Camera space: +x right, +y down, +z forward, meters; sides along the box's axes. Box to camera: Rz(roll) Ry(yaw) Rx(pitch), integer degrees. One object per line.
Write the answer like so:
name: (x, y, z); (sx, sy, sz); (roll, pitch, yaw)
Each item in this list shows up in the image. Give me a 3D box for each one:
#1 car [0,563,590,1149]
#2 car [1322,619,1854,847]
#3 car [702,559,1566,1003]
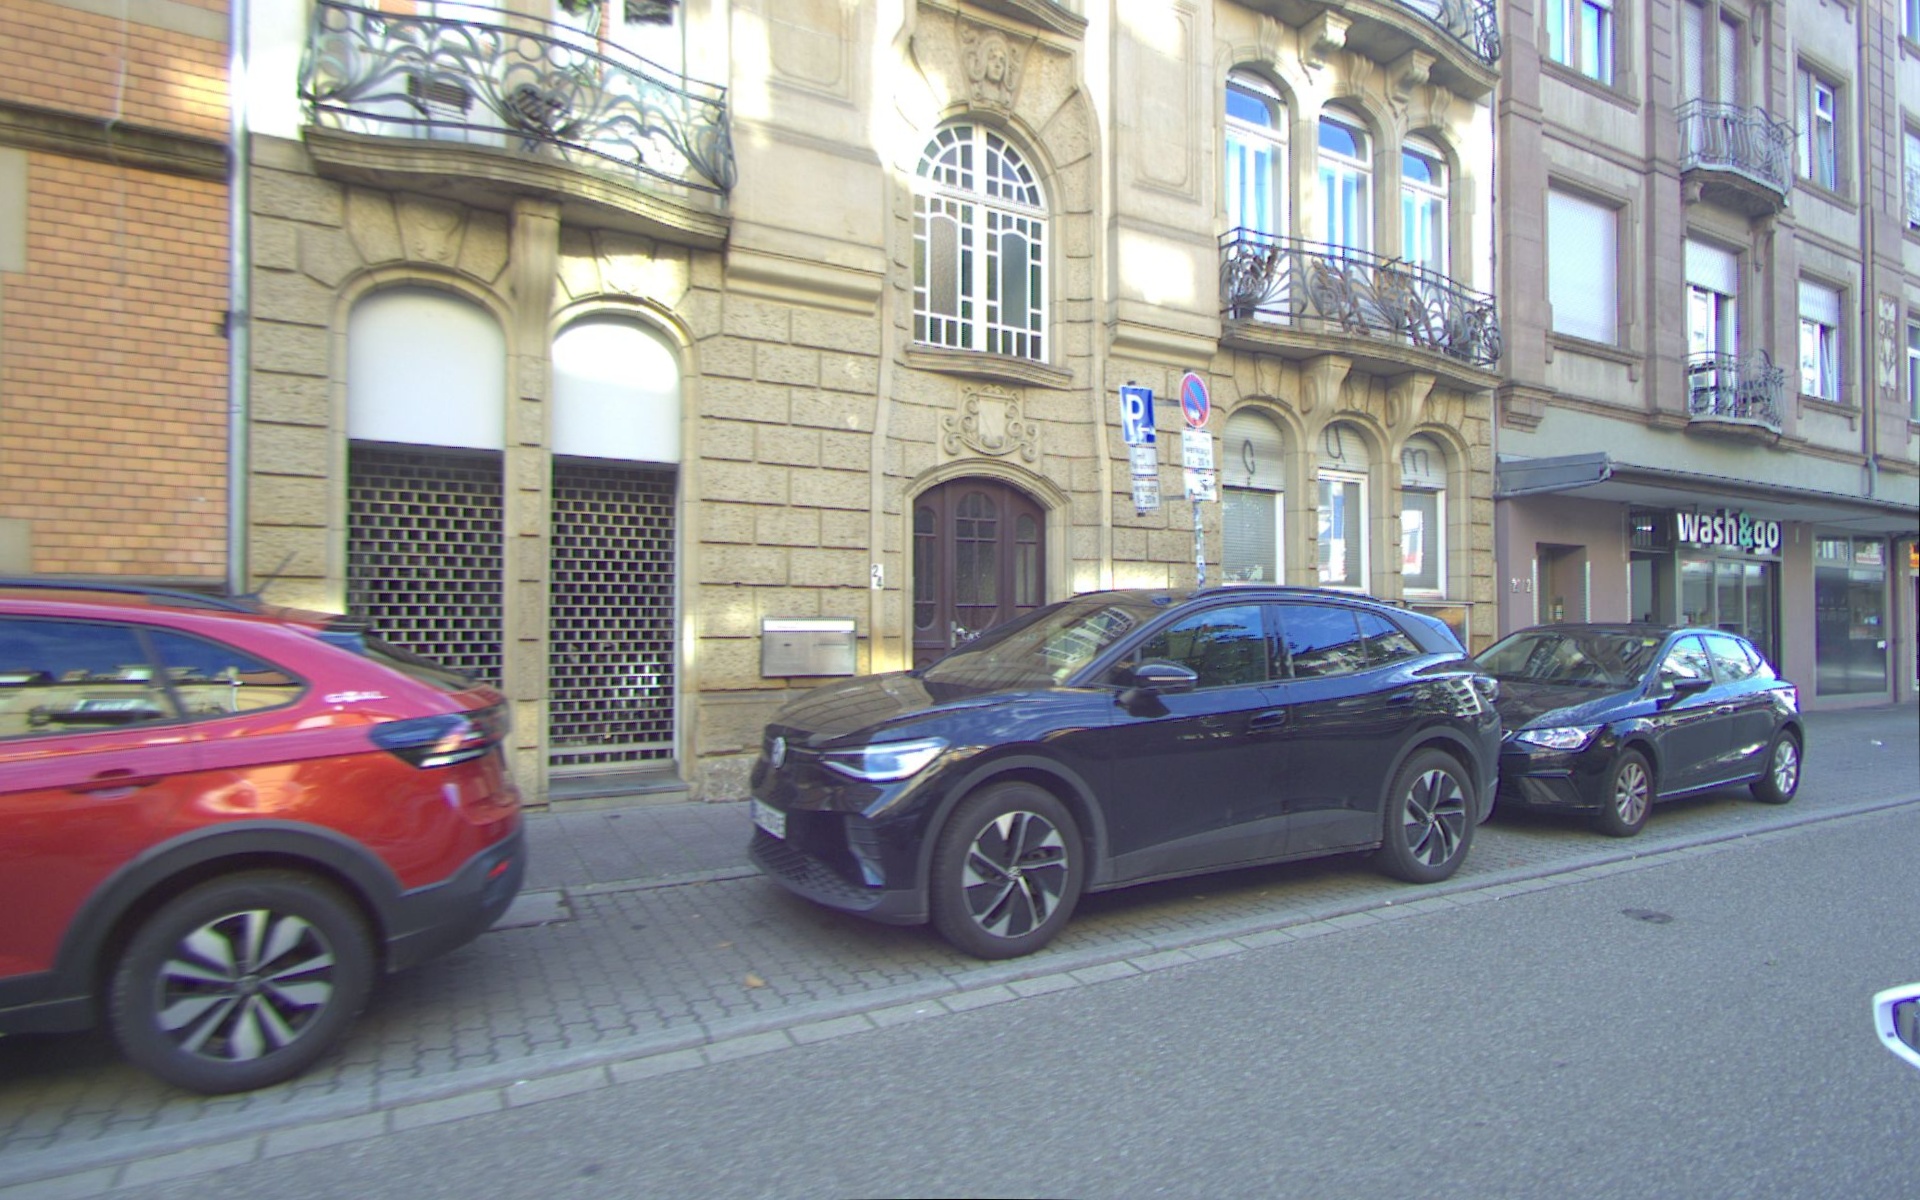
car: (-3.652, 0.696, 3.219); (4.374, 1.565, 1.985); (1, -2, -30)
car: (5.227, 0.897, 8.284); (4.194, 1.439, 1.985); (1, -2, -30)
car: (1.150, 0.746, 5.698); (4.788, 1.650, 1.783); (1, -2, -29)
